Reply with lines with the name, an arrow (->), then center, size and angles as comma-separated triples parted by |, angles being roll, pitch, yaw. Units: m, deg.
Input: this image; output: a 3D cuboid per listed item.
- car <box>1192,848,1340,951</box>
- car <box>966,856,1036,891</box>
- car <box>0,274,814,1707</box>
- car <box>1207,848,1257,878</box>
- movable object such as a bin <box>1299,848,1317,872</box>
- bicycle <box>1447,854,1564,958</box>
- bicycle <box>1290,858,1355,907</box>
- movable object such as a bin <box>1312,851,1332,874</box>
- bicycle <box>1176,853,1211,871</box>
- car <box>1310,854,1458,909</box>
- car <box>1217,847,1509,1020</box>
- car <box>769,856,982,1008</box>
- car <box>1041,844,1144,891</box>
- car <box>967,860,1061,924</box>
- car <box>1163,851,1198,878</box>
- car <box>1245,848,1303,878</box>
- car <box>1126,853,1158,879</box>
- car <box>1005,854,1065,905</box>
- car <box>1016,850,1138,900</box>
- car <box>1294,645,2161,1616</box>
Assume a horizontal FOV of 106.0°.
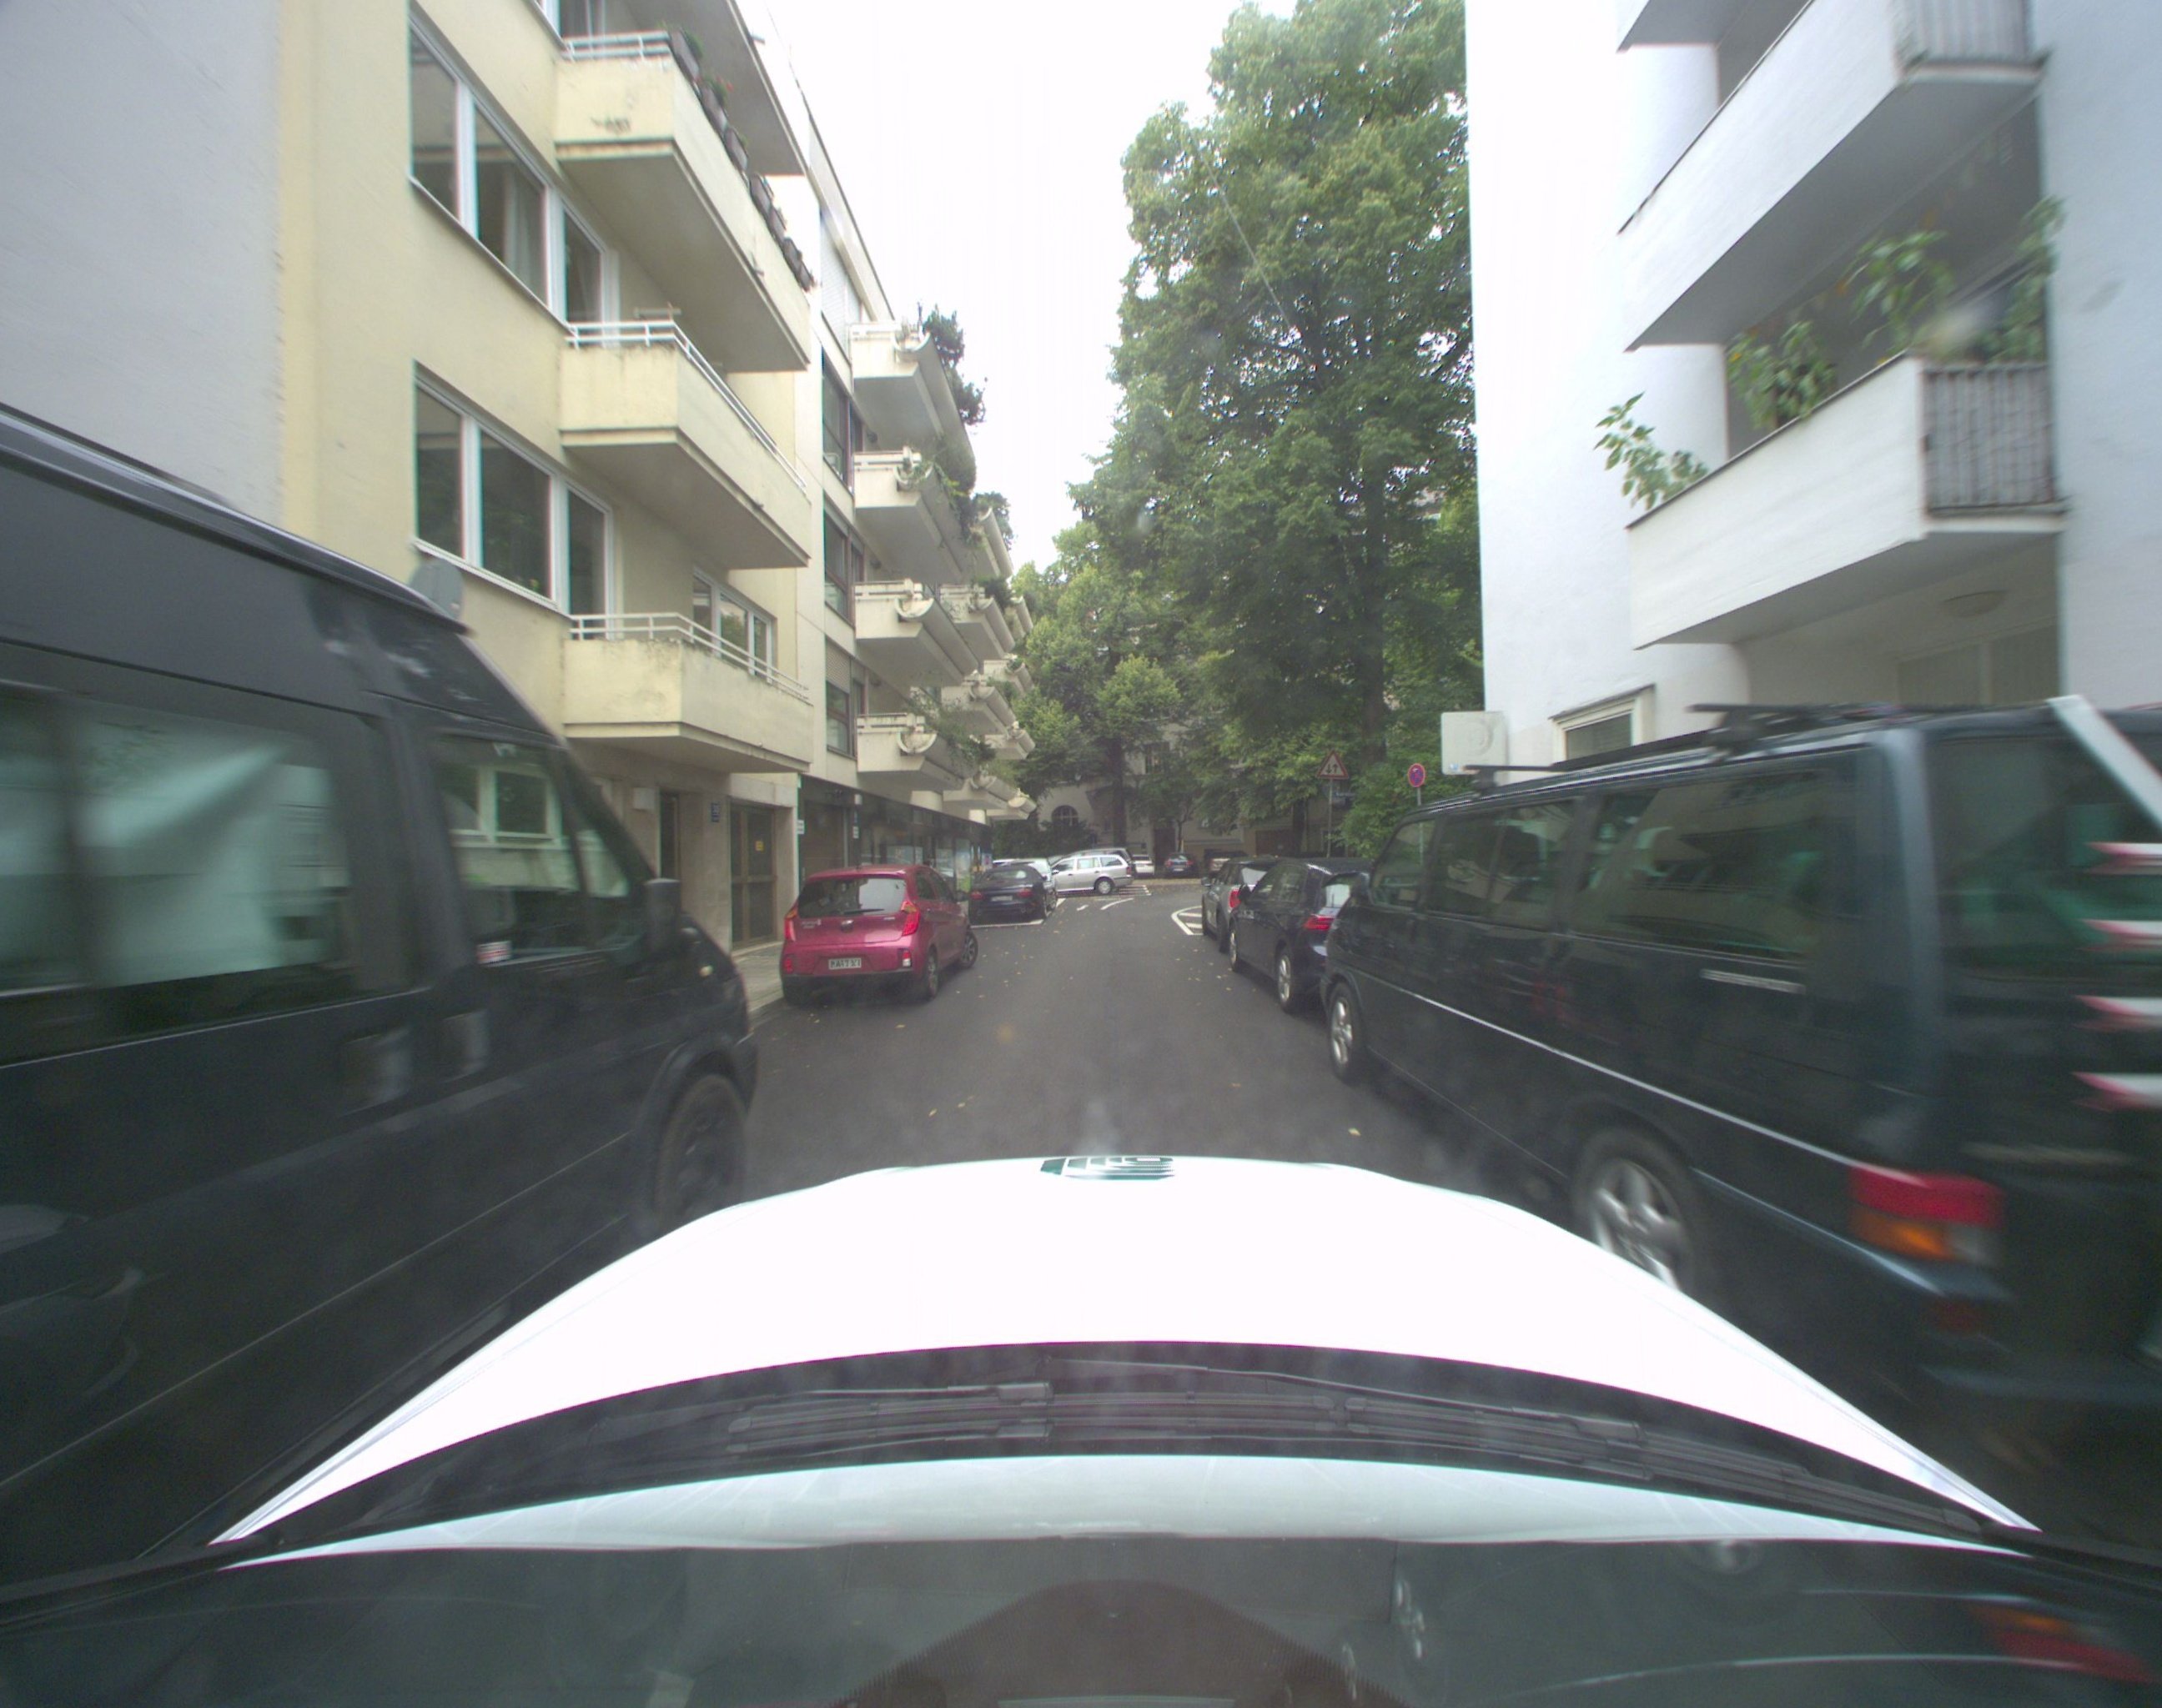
car -> 2.948, 0.670, 13.799 | 1.736, 1.441, 4.003 | -2, 0, 3
car -> -4.085, 0.969, 41.350 | 3.297, 1.631, 1.501 | -1, 0, -18
car -> -2.457, 0.380, 1.274 | 2.010, 2.279, 5.393 | -3, -1, 2
car -> 8.372, 0.478, 44.929 | 1.822, 1.530, 4.047 | -1, 0, 24
movable object such as a bin -> 13.118, 0.361, 47.052 | 0.706, 1.348, 1.382 | -1, 0, 29
bicycle -> 5.449, 0.619, 10.586 | 0.557, 1.220, 1.918 | -1, 0, 2
bicycle -> 6.071, 0.699, 20.442 | 1.780, 1.137, 0.549 | -1, -1, -34
movable object such as a bin -> 13.740, 0.481, 46.391 | 0.854, 1.305, 1.441 | 1, 1, 27
bicycle -> 7.489, 0.537, 54.152 | 2.207, 1.115, 0.580 | -1, 0, 30
car -> 8.457, 0.715, 23.254 | 1.952, 1.377, 4.720 | -1, 0, -8
car -> 2.756, 0.686, 8.995 | 1.827, 1.419, 4.058 | -2, 0, 1
car -> -2.318, 0.801, 10.144 | 1.614, 1.496, 3.709 | -2, 0, 1
car -> 0.480, 0.574, 34.754 | 4.207, 1.684, 1.902 | -4, 0, -1
car -> -1.541, 0.869, 20.409 | 1.790, 1.278, 4.618 | -3, 0, 1
car -> 5.599, 0.548, 45.437 | 1.781, 1.431, 4.010 | -1, 0, 9
car -> 10.143, 0.512, 42.552 | 1.687, 1.467, 4.315 | 0, -2, 32
car -> 3.485, 0.666, 46.686 | 1.711, 1.431, 4.005 | -1, 0, 4
car -> -1.402, 0.757, 25.824 | 1.555, 1.421, 3.833 | -3, 0, 1
car -> -0.111, 0.729, 29.510 | 4.213, 1.455, 1.721 | -4, 0, 1
car -> 2.558, 0.512, 3.908 | 1.868, 1.791, 4.783 | -2, -1, 1
